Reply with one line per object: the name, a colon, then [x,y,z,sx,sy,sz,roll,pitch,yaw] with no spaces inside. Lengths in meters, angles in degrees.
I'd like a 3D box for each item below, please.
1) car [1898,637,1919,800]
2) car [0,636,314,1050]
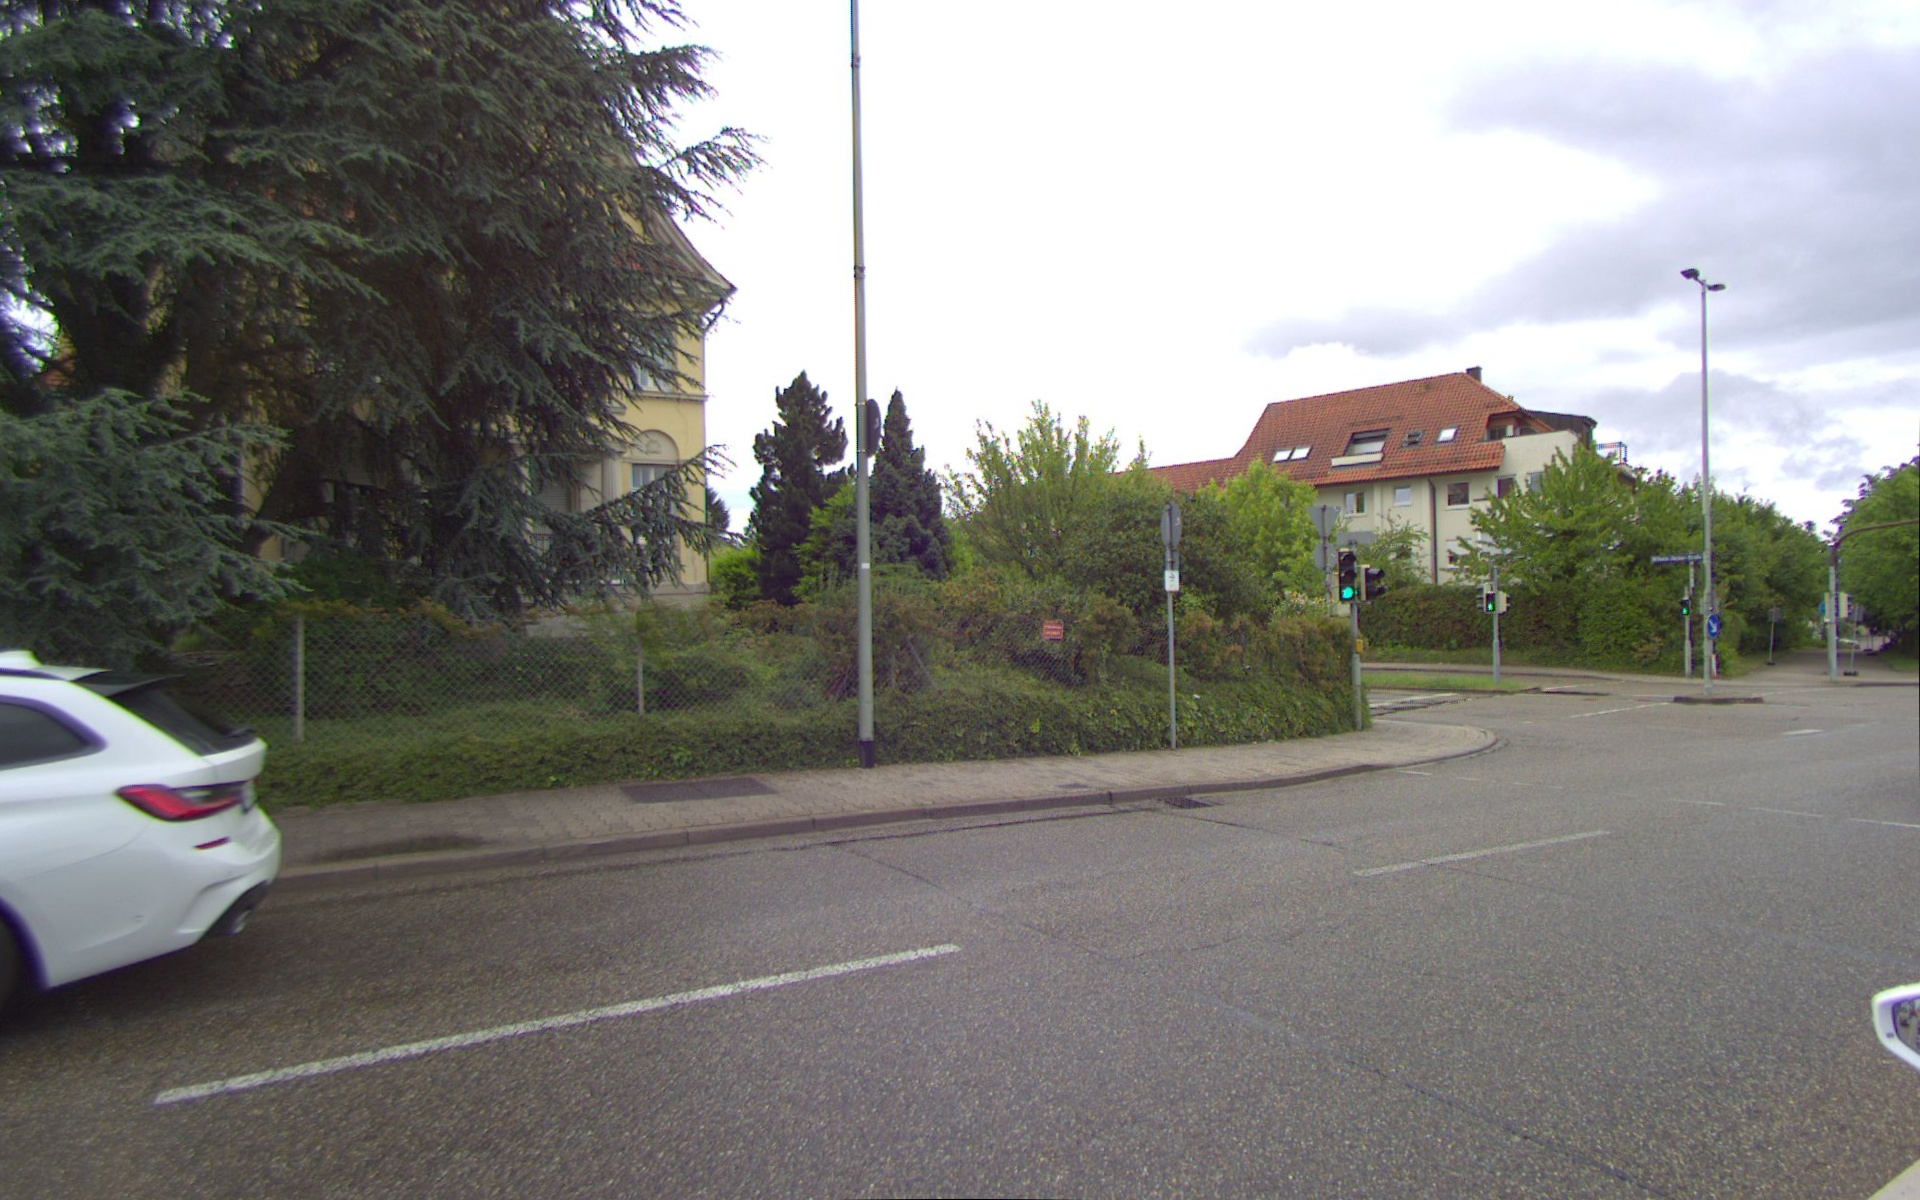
car: [10.573,1.085,9.456,3.478,1.479,1.631,1,-3,-31]
car: [-5.032,0.875,3.682,4.381,1.479,1.777,1,-2,-31]
